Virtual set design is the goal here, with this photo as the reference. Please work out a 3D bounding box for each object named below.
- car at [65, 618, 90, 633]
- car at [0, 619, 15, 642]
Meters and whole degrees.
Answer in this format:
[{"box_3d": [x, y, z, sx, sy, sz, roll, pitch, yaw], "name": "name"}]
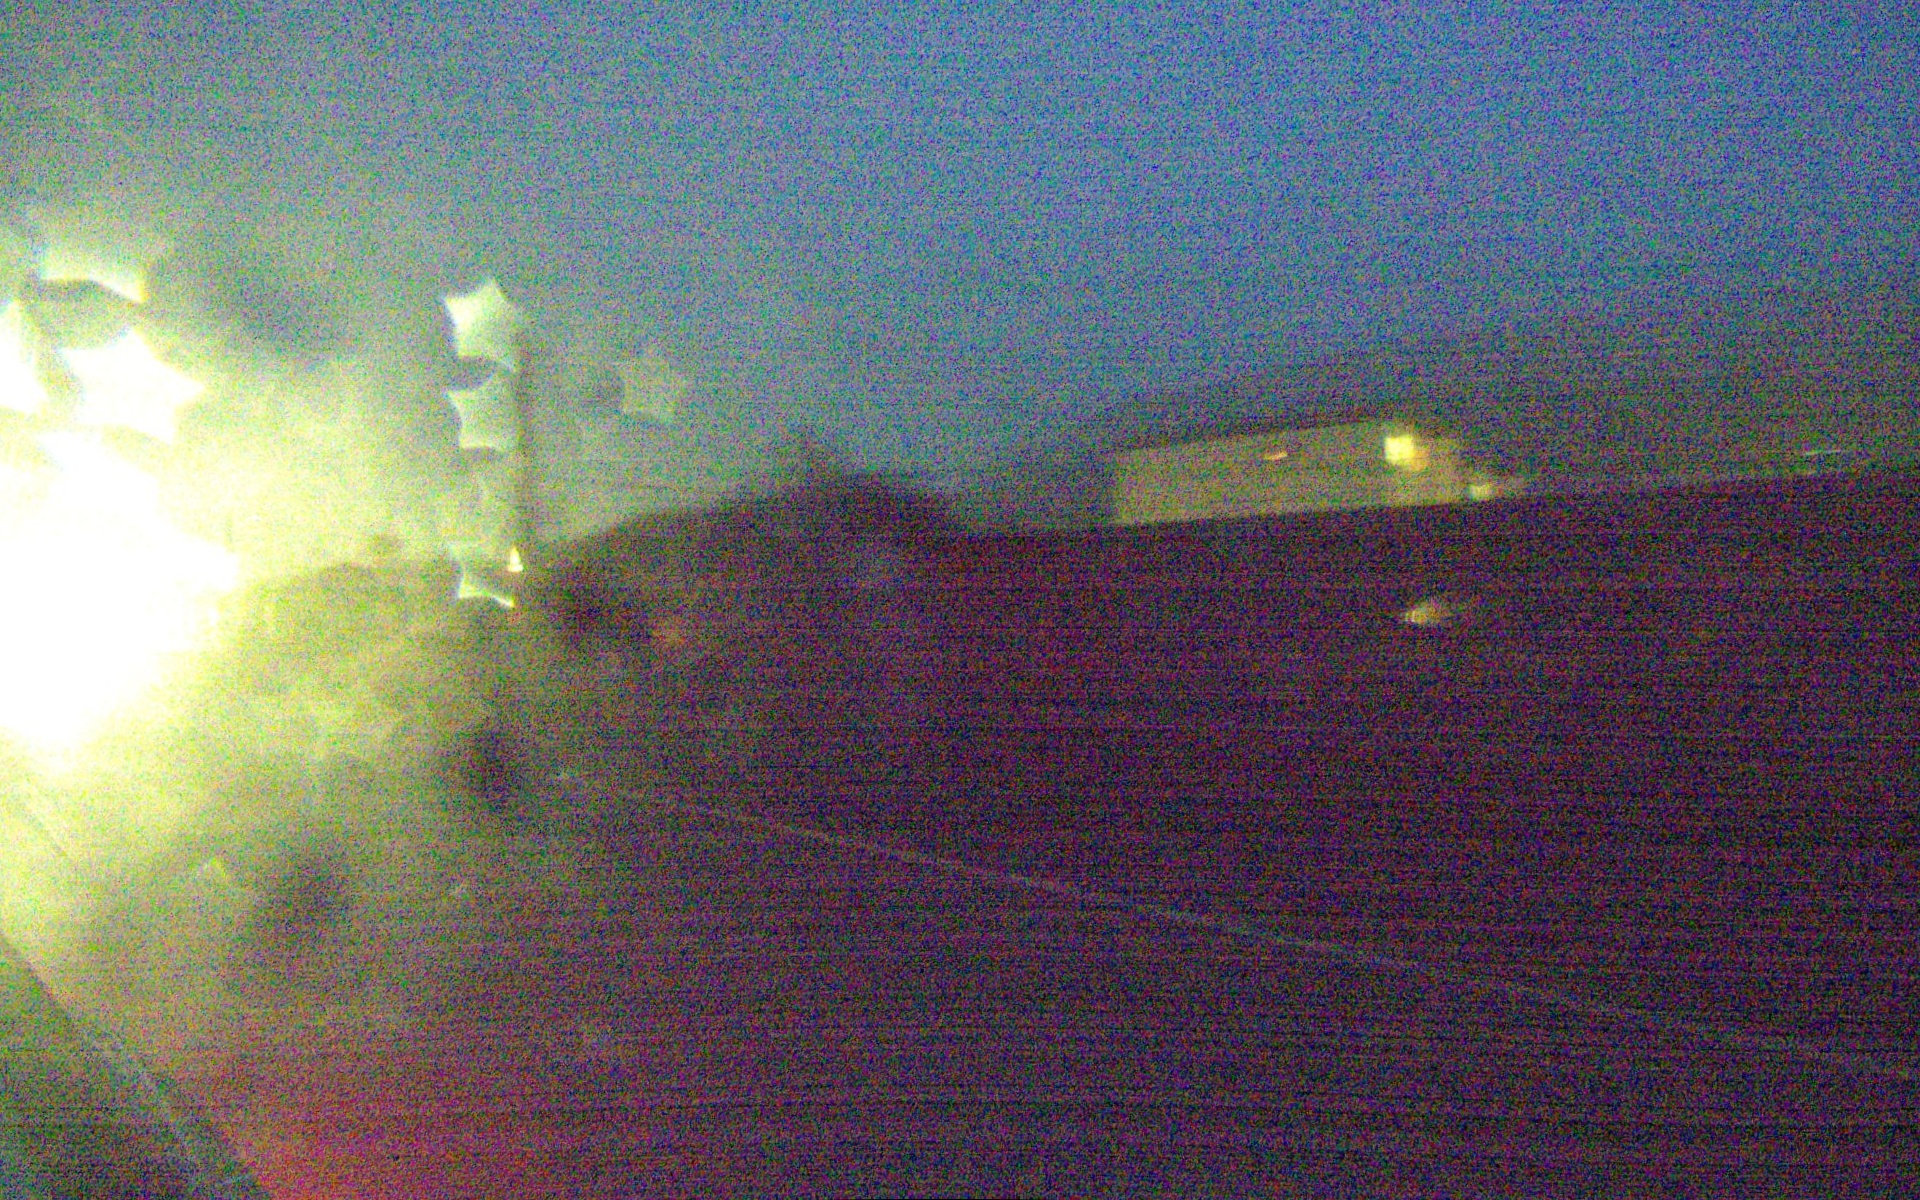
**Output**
[{"box_3d": [-95.837, 2.754, 109.923, 1.896, 1.658, 4.032, 0, -1, -40], "name": "car"}, {"box_3d": [-71.752, 2.274, 75.144, 1.719, 1.646, 3.745, 0, -1, -34], "name": "car"}]
